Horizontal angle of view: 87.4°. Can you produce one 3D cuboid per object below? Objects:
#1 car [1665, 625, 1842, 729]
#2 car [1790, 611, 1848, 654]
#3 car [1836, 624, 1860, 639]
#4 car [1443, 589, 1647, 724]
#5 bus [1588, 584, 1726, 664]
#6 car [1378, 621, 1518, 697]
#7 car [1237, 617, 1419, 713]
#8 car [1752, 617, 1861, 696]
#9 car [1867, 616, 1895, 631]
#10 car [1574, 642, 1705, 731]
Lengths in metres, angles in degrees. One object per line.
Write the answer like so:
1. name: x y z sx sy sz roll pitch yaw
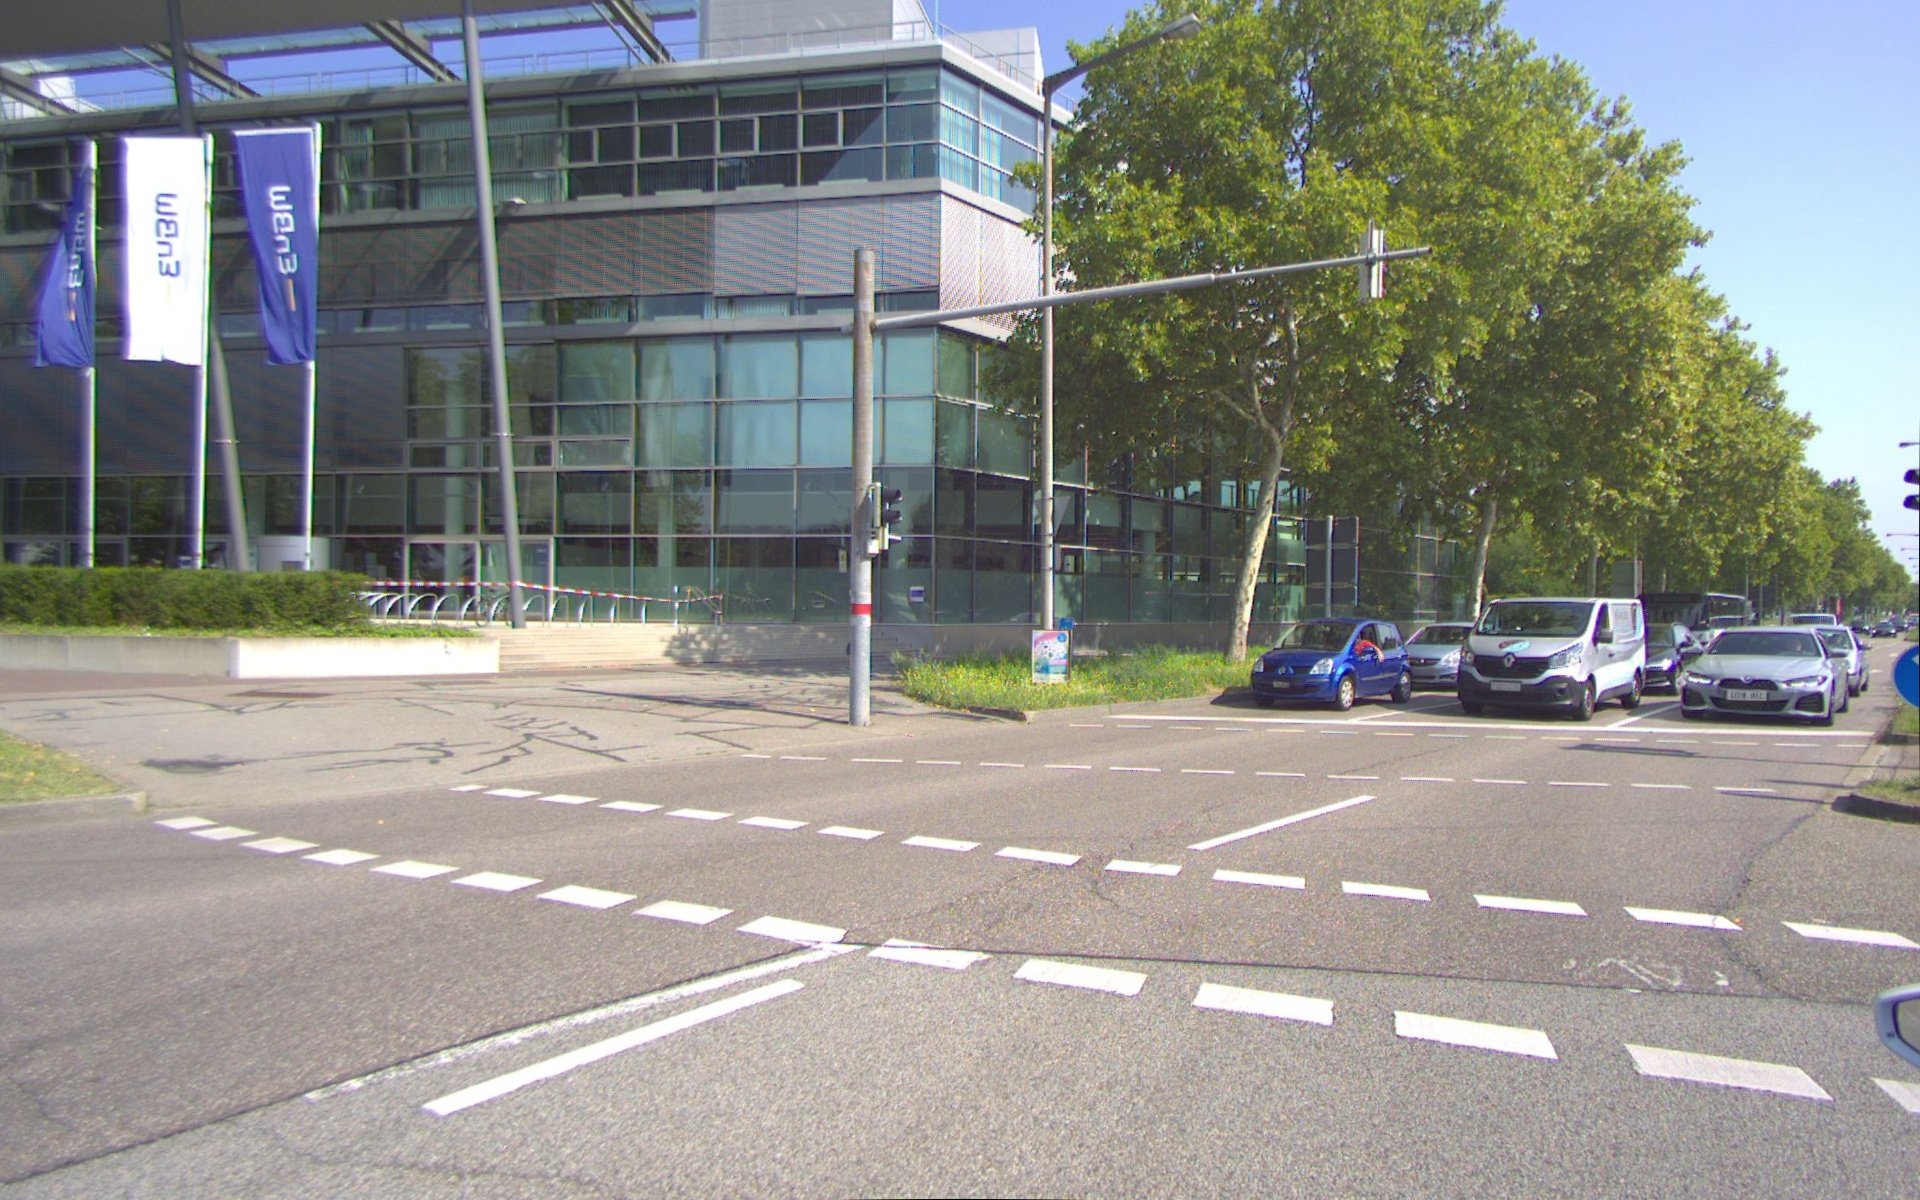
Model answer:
1. car: 13.075 1.147 16.440 1.816 1.462 4.578 -2 -2 44
2. car: 43.206 1.603 50.593 1.903 1.986 5.168 -2 -1 38
3. car: 99.561 3.534 112.624 1.823 1.626 4.590 1 -1 39
4. car: 10.214 0.837 17.321 1.907 1.984 5.181 0 0 44
5. bus: 27.477 0.986 39.302 2.635 2.729 10.838 -2 -3 44
6. car: 10.962 1.272 22.482 3.705 1.555 1.652 2 -3 -44
7. car: 6.709 1.131 18.162 3.705 1.555 1.651 2 -3 -44
8. car: 18.528 1.223 21.923 1.597 1.555 4.078 -2 -3 43
9. car: 91.988 2.355 100.300 4.613 1.509 1.827 1 -3 -45
10. car: 16.336 1.969 24.035 4.672 1.873 1.700 2 -3 -45
